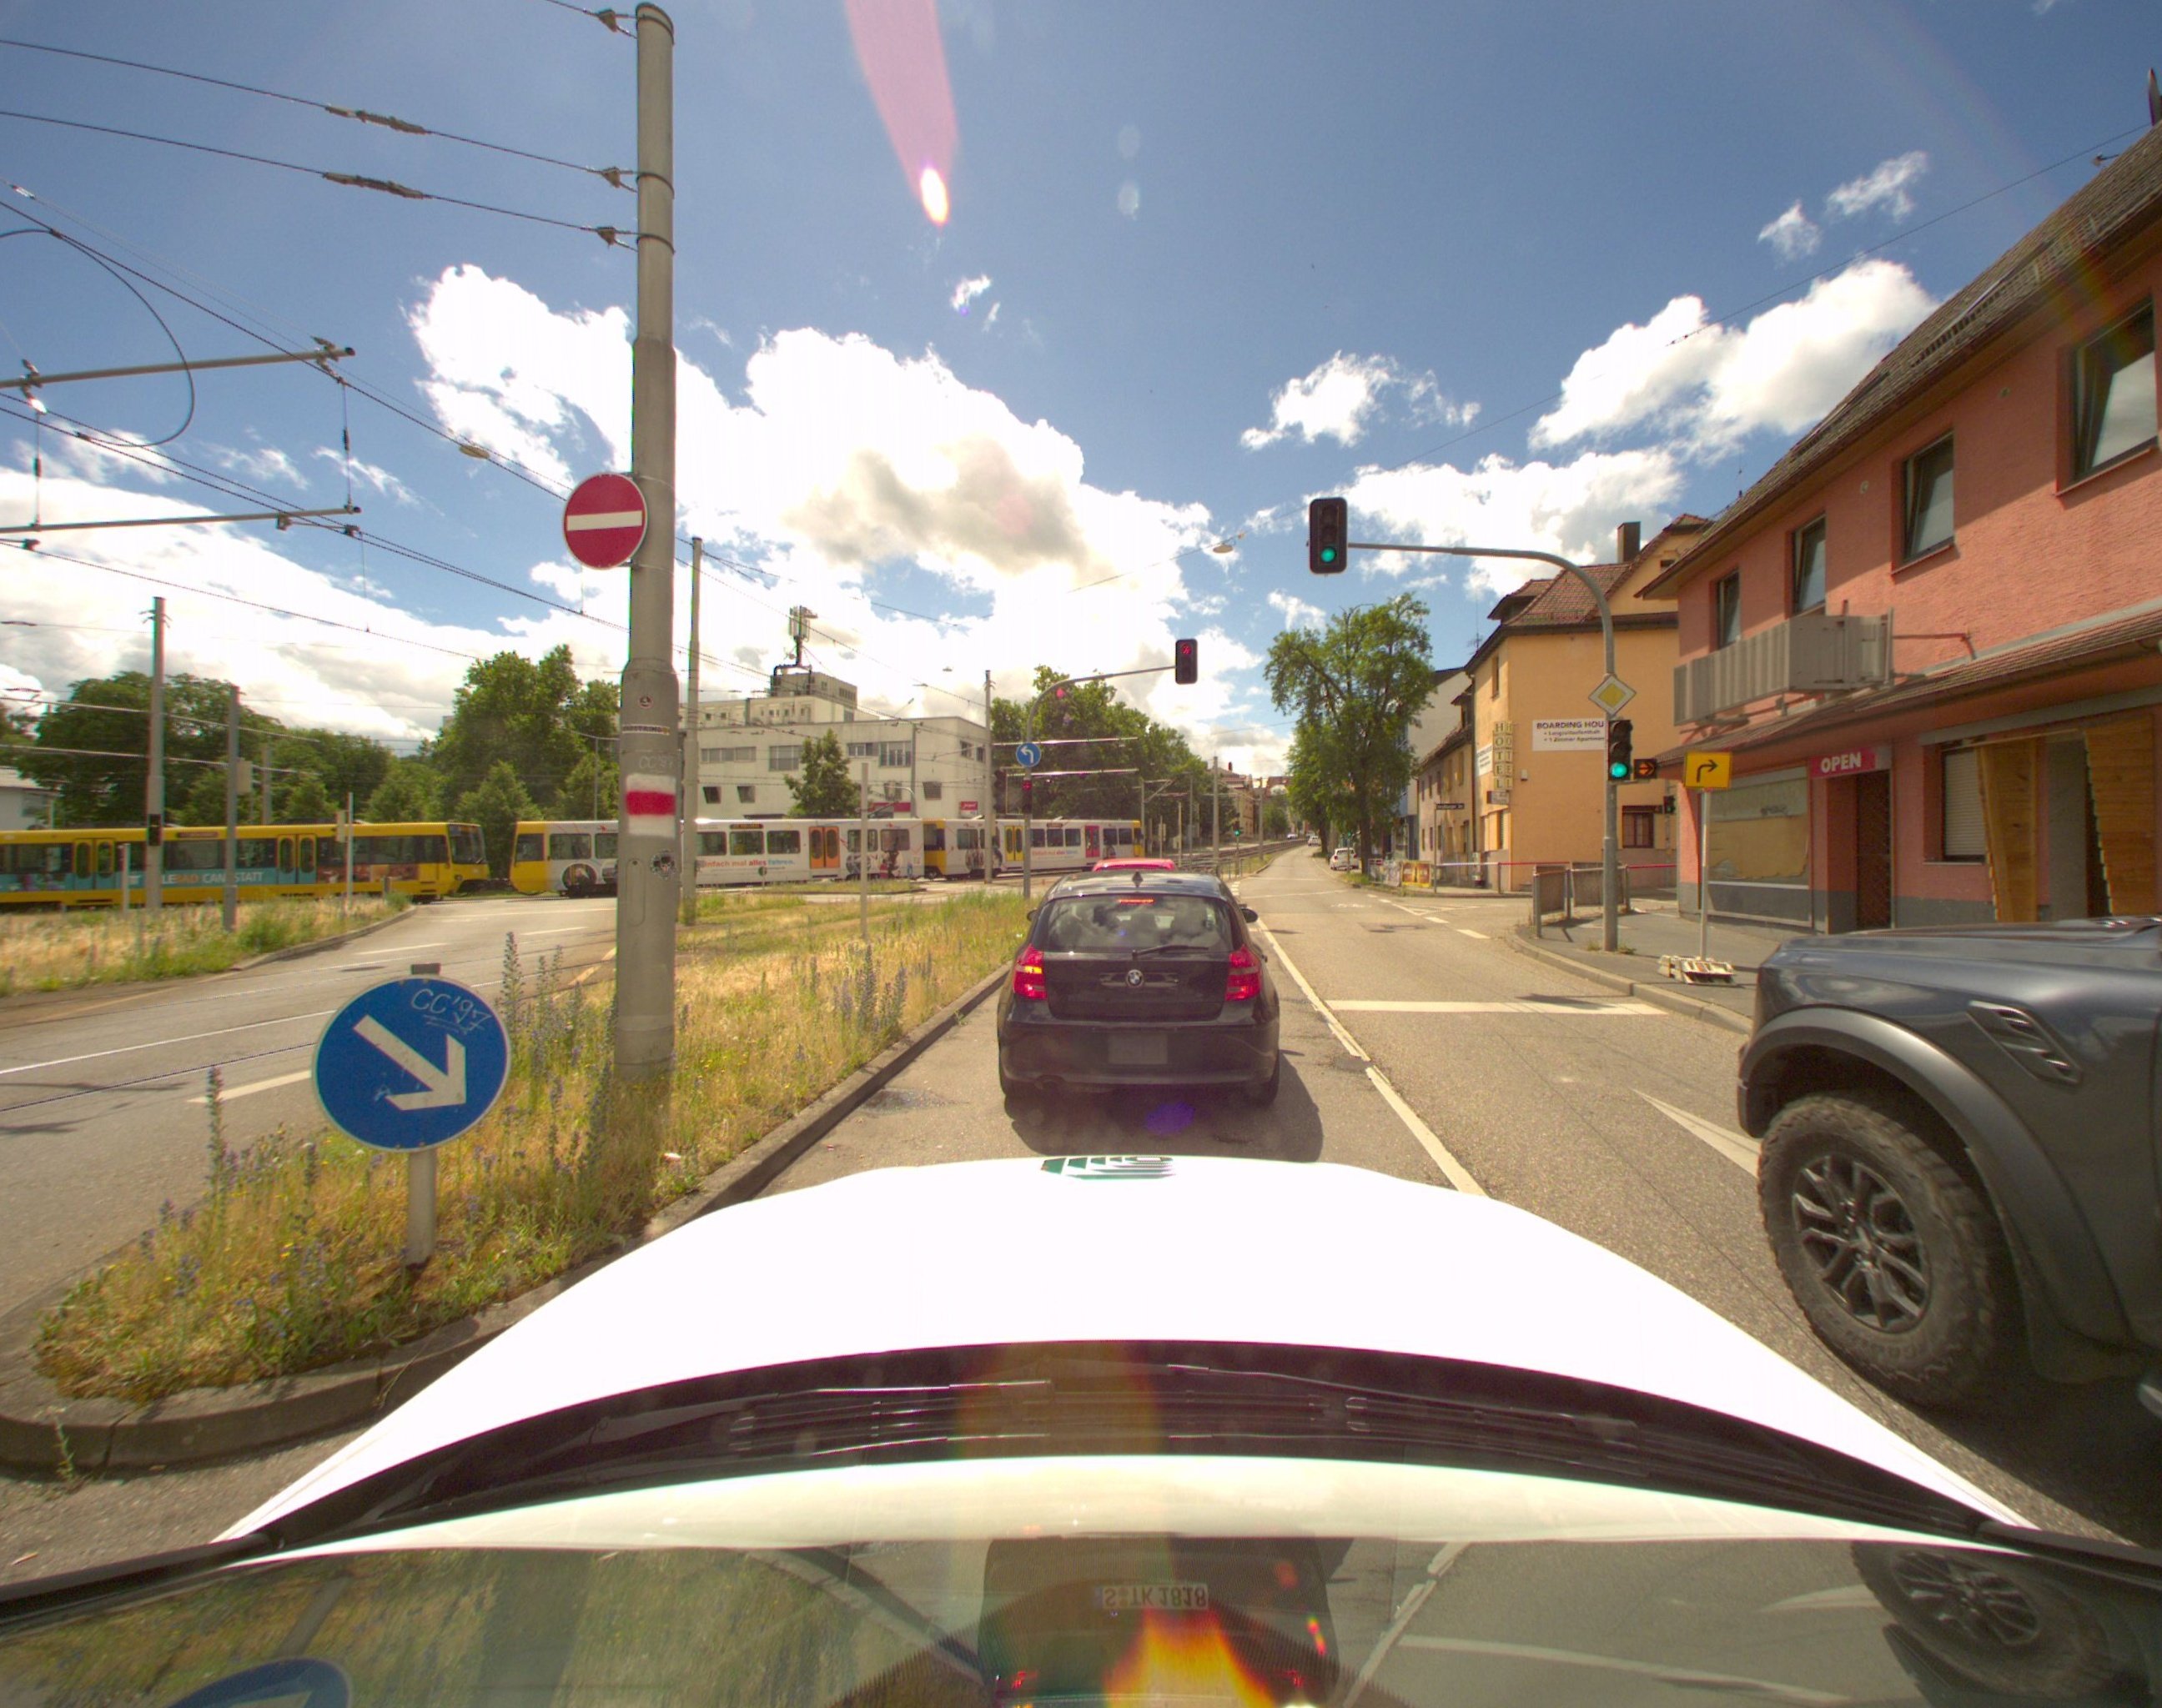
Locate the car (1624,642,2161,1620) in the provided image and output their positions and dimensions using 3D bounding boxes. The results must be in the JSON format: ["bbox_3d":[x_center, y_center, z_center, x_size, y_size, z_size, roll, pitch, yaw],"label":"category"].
[{"bbox_3d":[2.983,0.502,0.637,1.989,1.887,5.157,-2,-1,5],"label":"car"}]

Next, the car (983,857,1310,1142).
[{"bbox_3d":[0.339,0.797,6.316,1.696,1.452,3.999,-2,-1,0],"label":"car"}]

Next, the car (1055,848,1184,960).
[{"bbox_3d":[0.755,0.703,12.923,1.616,1.473,4.009,-2,-1,8],"label":"car"}]

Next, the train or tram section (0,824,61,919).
[{"bbox_3d":[-53.960,1.011,35.131,18.718,3.919,3.772,-2,-1,9],"label":"train or tram section"}]

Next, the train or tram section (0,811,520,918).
[{"bbox_3d":[-35.625,0.445,34.431,20.060,3.829,3.753,-2,-1,-7],"label":"train or tram section"}]

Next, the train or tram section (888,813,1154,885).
[{"bbox_3d":[-2.775,-0.279,51.961,3.713,3.814,20.176,-3,-1,40],"label":"train or tram section"}]

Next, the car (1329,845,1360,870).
[{"bbox_3d":[17.982,0.225,55.612,1.774,1.596,4.016,-2,-1,15],"label":"car"}]

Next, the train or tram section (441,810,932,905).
[{"bbox_3d":[-17.860,0.000,39.810,20.692,3.879,3.726,-1,-1,-29],"label":"train or tram section"}]

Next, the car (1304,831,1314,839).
[{"bbox_3d":[57.700,-4.771,206.016,1.976,2.014,4.022,-2,-1,23],"label":"car"}]

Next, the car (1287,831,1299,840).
[{"bbox_3d":[48.662,-4.232,186.912,1.976,2.014,4.022,-2,-1,23],"label":"car"}]

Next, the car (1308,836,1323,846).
[{"bbox_3d":[36.785,-1.992,127.516,1.799,1.468,4.022,-1,0,22],"label":"car"}]

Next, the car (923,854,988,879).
[{"bbox_3d":[-8.807,0.876,57.151,4.193,1.585,1.836,-1,-1,-44],"label":"car"}]
